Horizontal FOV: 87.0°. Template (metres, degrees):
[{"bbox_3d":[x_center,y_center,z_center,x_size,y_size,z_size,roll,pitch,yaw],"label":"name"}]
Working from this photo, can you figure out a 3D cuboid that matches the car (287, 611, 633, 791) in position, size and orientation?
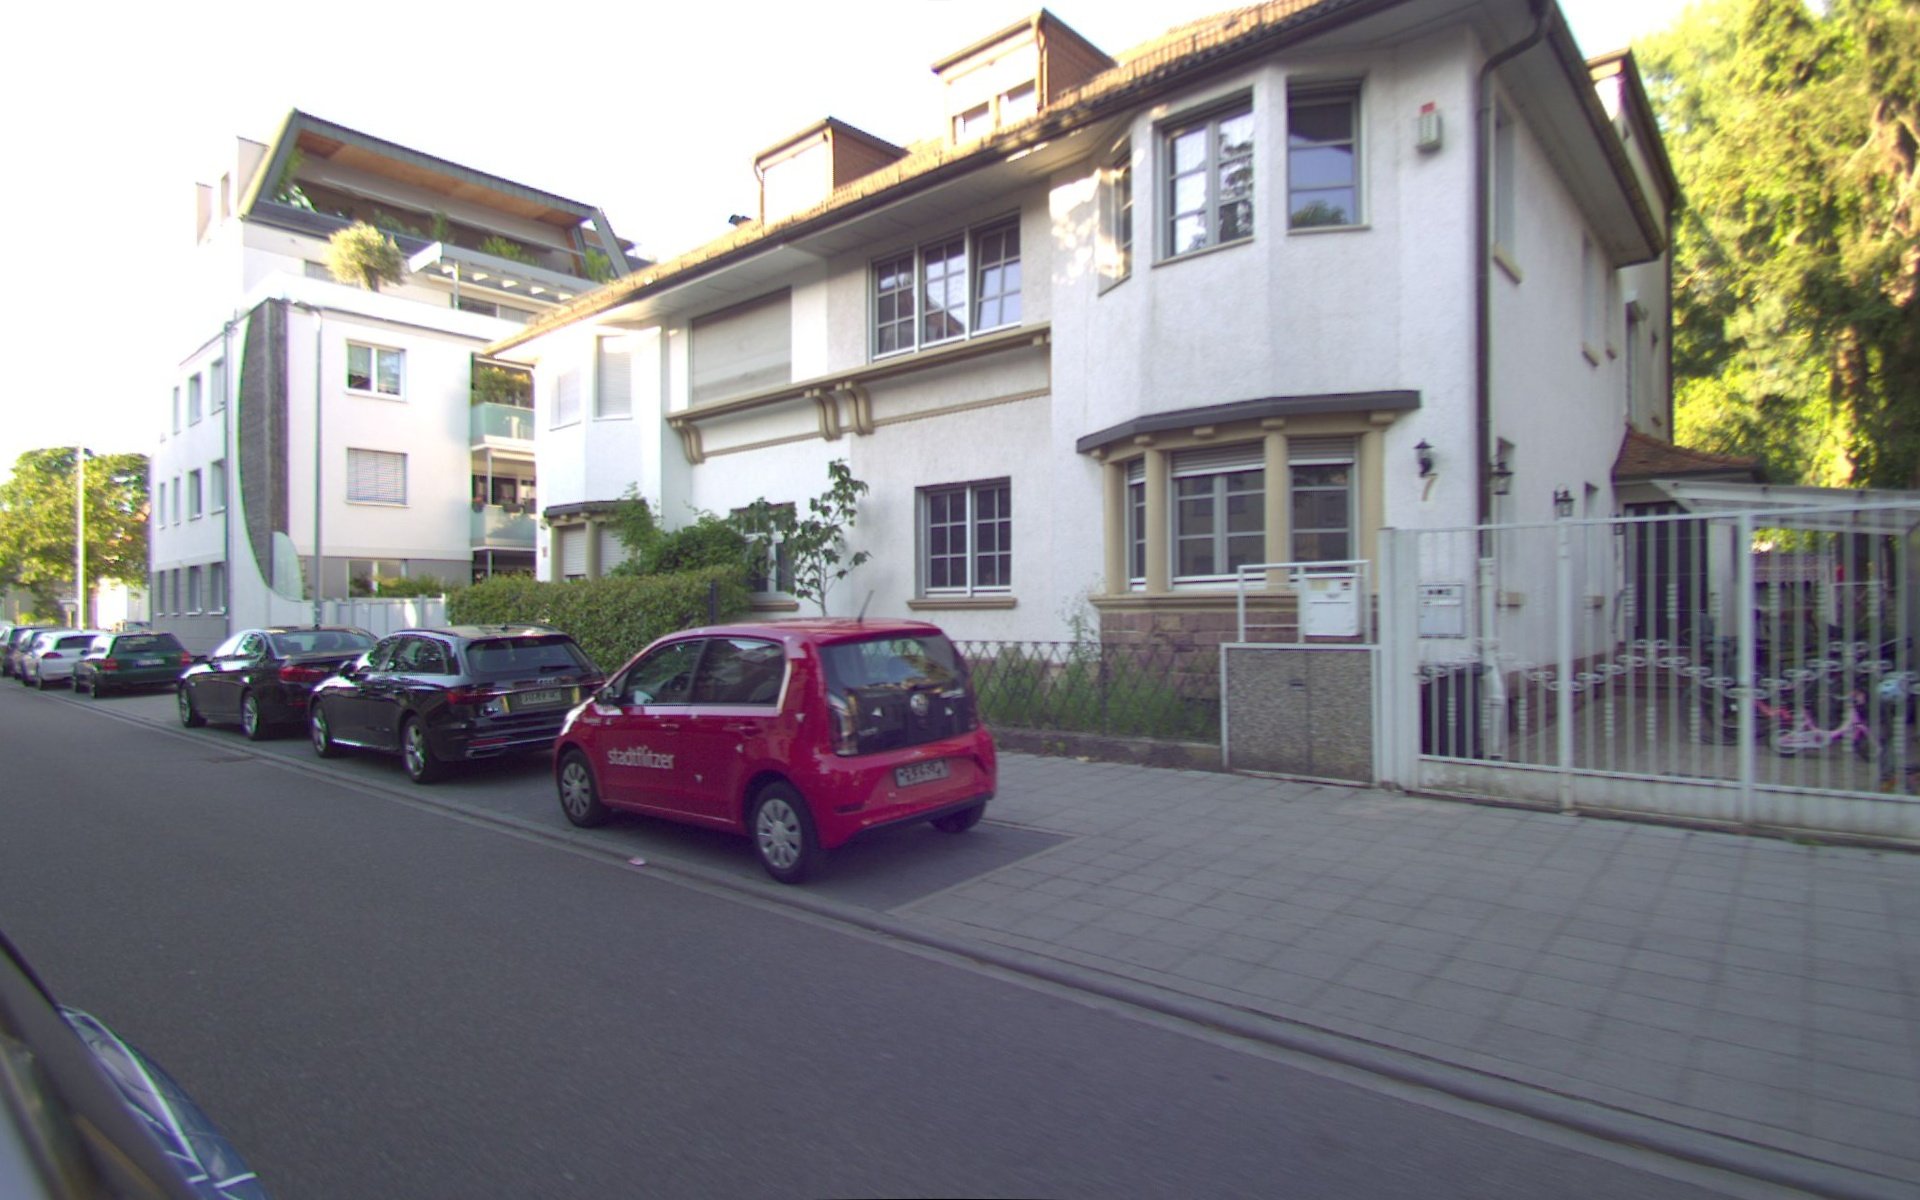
[{"bbox_3d":[-5.423,0.916,10.709,4.376,1.470,1.720,-2,0,41],"label":"car"}]

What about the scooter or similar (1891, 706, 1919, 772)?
[{"bbox_3d":[7.651,1.100,8.066,0.292,0.430,0.918,-2,-2,41],"label":"scooter or similar"}]

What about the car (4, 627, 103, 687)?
[{"bbox_3d":[-25.879,1.587,28.850,3.907,1.509,1.700,-2,0,42],"label":"car"}]

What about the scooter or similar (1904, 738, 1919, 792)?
[{"bbox_3d":[6.976,1.177,7.230,0.292,0.278,0.918,-2,-2,41],"label":"scooter or similar"}]

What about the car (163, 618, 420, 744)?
[{"bbox_3d":[-9.656,1.056,14.475,4.559,1.470,1.722,-2,0,38],"label":"car"}]

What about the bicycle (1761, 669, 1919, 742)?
[{"bbox_3d":[8.462,0.991,9.705,1.196,0.625,0.428,-2,-2,41],"label":"bicycle"}]

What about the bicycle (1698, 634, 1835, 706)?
[{"bbox_3d":[9.992,0.846,12.565,1.299,0.843,0.428,-2,-2,41],"label":"bicycle"}]

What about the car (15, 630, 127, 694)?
[{"bbox_3d":[-22.551,1.526,25.624,3.907,1.405,1.700,-2,0,42],"label":"car"}]

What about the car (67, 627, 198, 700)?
[{"bbox_3d":[-18.454,1.369,22.509,3.907,1.405,1.700,-2,0,42],"label":"car"}]

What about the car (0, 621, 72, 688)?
[{"bbox_3d":[-30.062,1.697,32.413,4.197,1.963,1.888,-2,0,42],"label":"car"}]

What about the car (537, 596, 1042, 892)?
[{"bbox_3d":[-1.313,0.781,6.994,3.428,1.494,1.633,-2,0,42],"label":"car"}]

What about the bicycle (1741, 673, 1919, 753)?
[{"bbox_3d":[7.804,0.995,9.103,1.196,0.625,0.428,-2,-2,41],"label":"bicycle"}]
